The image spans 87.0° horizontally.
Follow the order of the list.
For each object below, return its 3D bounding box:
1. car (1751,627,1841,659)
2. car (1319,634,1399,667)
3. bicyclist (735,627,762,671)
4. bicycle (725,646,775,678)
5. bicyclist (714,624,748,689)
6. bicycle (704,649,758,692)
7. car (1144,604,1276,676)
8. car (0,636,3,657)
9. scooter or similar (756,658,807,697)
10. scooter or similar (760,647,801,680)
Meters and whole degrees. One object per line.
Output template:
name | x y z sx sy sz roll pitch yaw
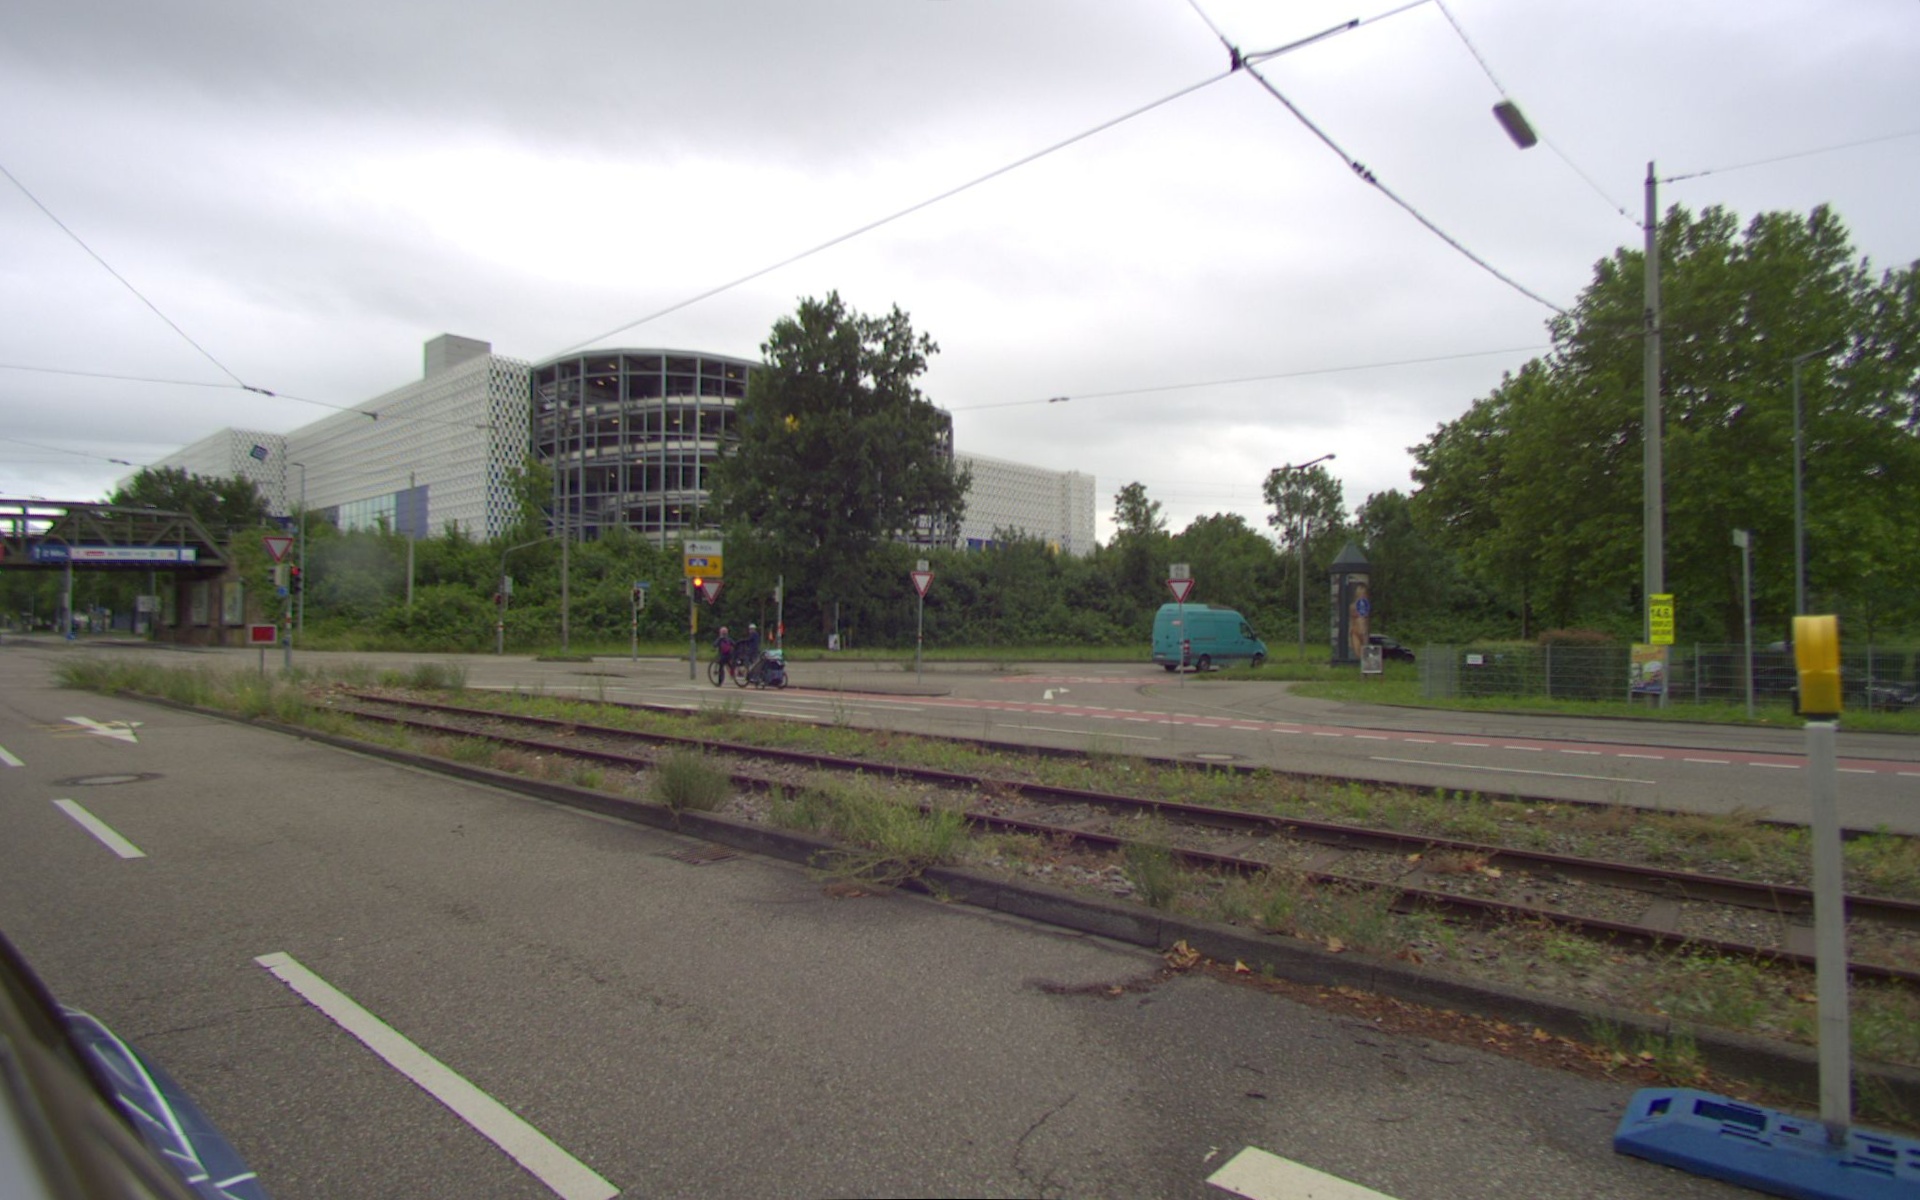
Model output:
car | 43.019 2.195 52.091 3.607 1.539 1.779 -1 -1 -15
car | 19.484 2.464 49.461 3.606 1.539 1.780 1 -2 -30
bicyclist | -7.485 1.731 35.807 0.626 1.530 0.638 -2 -1 42
bicycle | -7.432 2.187 35.768 2.000 1.070 0.638 -2 -1 42
bicyclist | -6.167 1.515 27.196 0.637 1.696 0.687 -1 -1 -37
bicycle | -6.171 1.874 27.208 0.637 1.070 2.028 -1 -1 -37
car | 10.688 1.679 43.054 5.852 2.847 2.341 2 -2 -37
car | -65.376 3.115 67.597 3.998 1.435 1.813 -2 -1 41
scooter or similar | -4.581 1.976 25.954 0.833 0.914 1.200 -1 -1 -37
scooter or similar | -6.143 2.171 34.614 1.449 1.070 0.638 -2 -1 42
